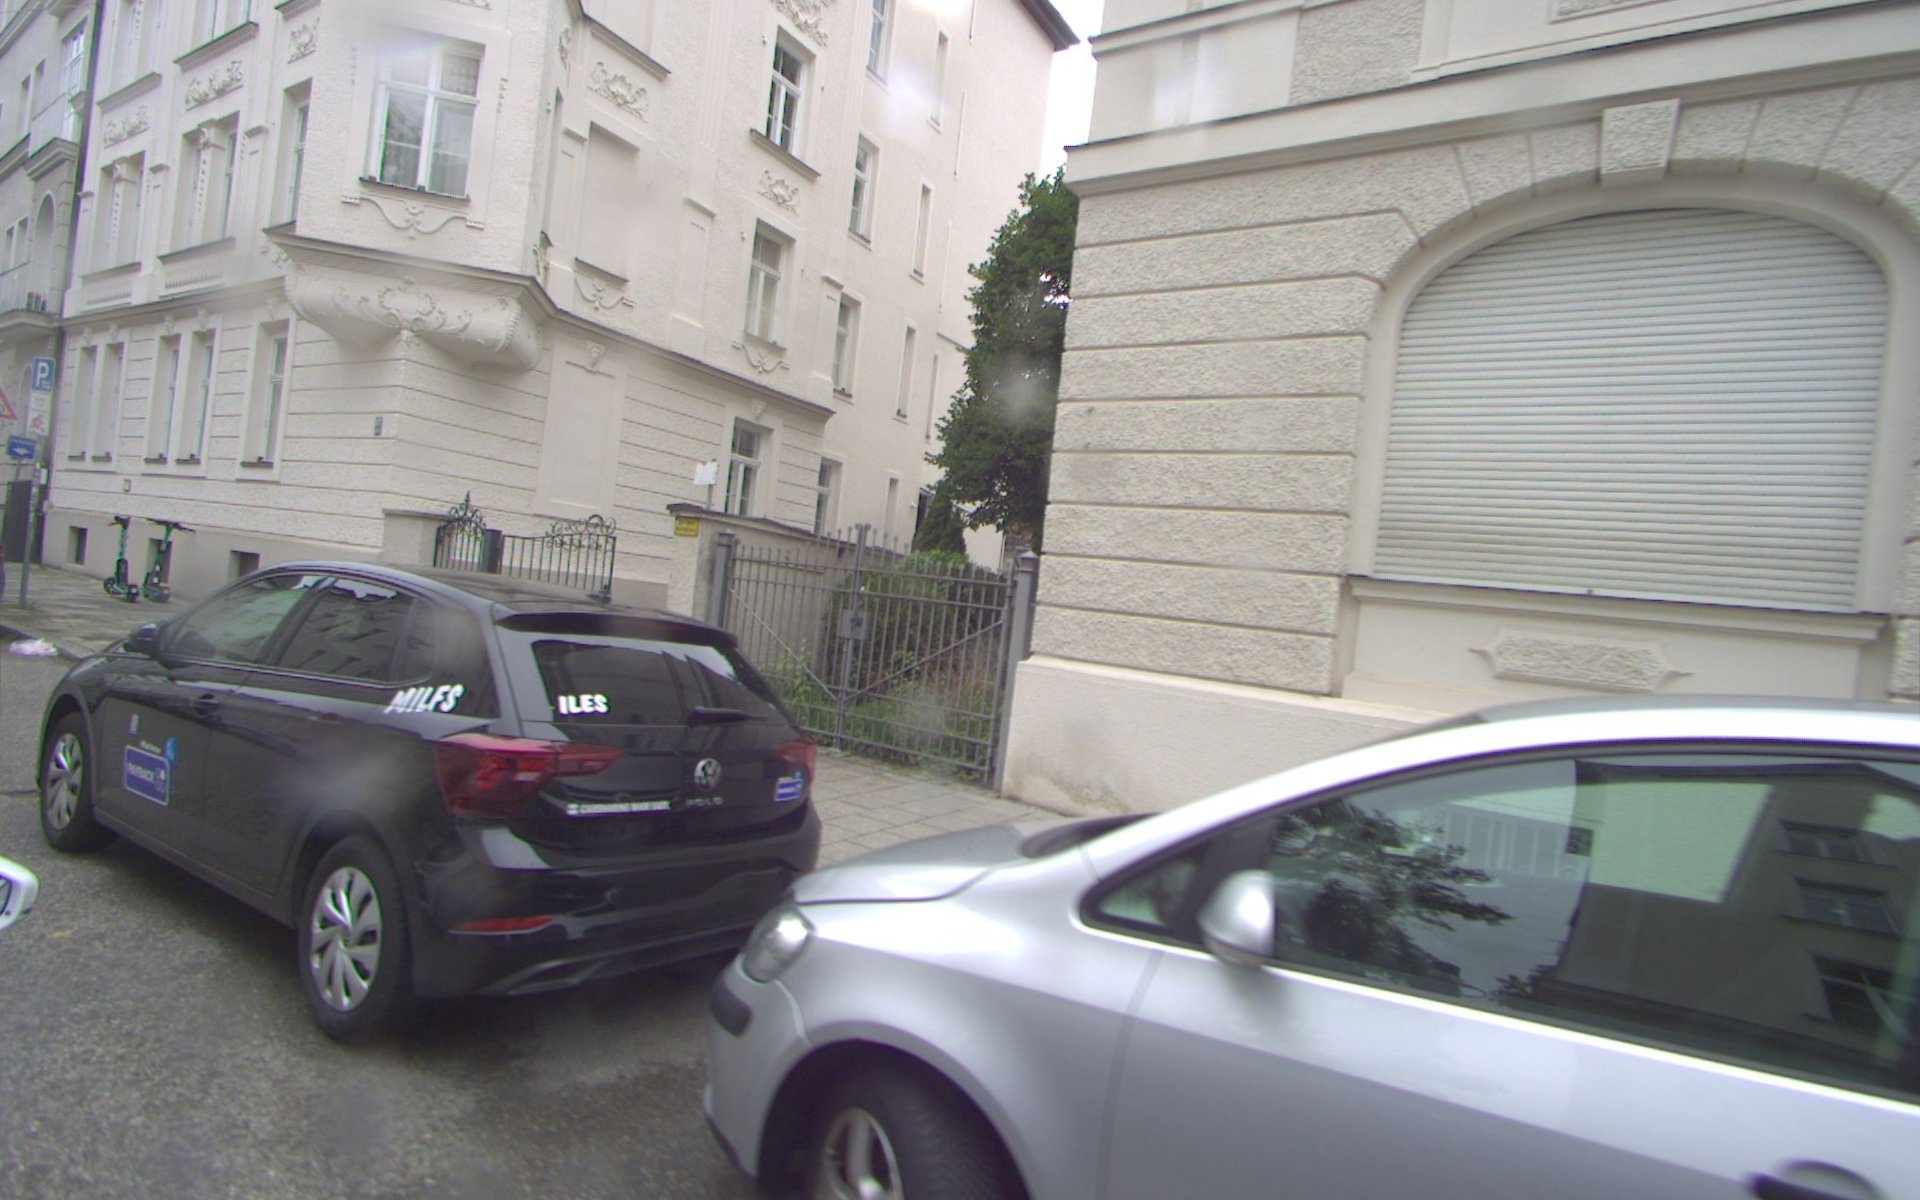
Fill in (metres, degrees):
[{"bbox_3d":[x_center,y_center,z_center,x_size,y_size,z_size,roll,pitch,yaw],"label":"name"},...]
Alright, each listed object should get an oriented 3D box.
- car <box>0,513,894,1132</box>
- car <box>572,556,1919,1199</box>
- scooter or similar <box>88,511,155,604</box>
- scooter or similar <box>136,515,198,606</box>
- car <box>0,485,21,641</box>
[{"bbox_3d":[-2.407,0.560,4.357,3.935,1.411,1.615,7,-1,33],"label":"car"},{"bbox_3d":[1.290,0.913,2.030,3.933,1.519,1.711,6,-1,31],"label":"car"},{"bbox_3d":[-12.797,-0.660,15.342,1.483,1.305,0.539,7,3,42],"label":"scooter or similar"},{"bbox_3d":[-12.422,-0.626,15.748,1.333,1.305,0.505,7,3,43],"label":"scooter or similar"},{"bbox_3d":[-11.643,-0.610,10.446,3.934,1.606,1.710,7,-1,32],"label":"car"}]
